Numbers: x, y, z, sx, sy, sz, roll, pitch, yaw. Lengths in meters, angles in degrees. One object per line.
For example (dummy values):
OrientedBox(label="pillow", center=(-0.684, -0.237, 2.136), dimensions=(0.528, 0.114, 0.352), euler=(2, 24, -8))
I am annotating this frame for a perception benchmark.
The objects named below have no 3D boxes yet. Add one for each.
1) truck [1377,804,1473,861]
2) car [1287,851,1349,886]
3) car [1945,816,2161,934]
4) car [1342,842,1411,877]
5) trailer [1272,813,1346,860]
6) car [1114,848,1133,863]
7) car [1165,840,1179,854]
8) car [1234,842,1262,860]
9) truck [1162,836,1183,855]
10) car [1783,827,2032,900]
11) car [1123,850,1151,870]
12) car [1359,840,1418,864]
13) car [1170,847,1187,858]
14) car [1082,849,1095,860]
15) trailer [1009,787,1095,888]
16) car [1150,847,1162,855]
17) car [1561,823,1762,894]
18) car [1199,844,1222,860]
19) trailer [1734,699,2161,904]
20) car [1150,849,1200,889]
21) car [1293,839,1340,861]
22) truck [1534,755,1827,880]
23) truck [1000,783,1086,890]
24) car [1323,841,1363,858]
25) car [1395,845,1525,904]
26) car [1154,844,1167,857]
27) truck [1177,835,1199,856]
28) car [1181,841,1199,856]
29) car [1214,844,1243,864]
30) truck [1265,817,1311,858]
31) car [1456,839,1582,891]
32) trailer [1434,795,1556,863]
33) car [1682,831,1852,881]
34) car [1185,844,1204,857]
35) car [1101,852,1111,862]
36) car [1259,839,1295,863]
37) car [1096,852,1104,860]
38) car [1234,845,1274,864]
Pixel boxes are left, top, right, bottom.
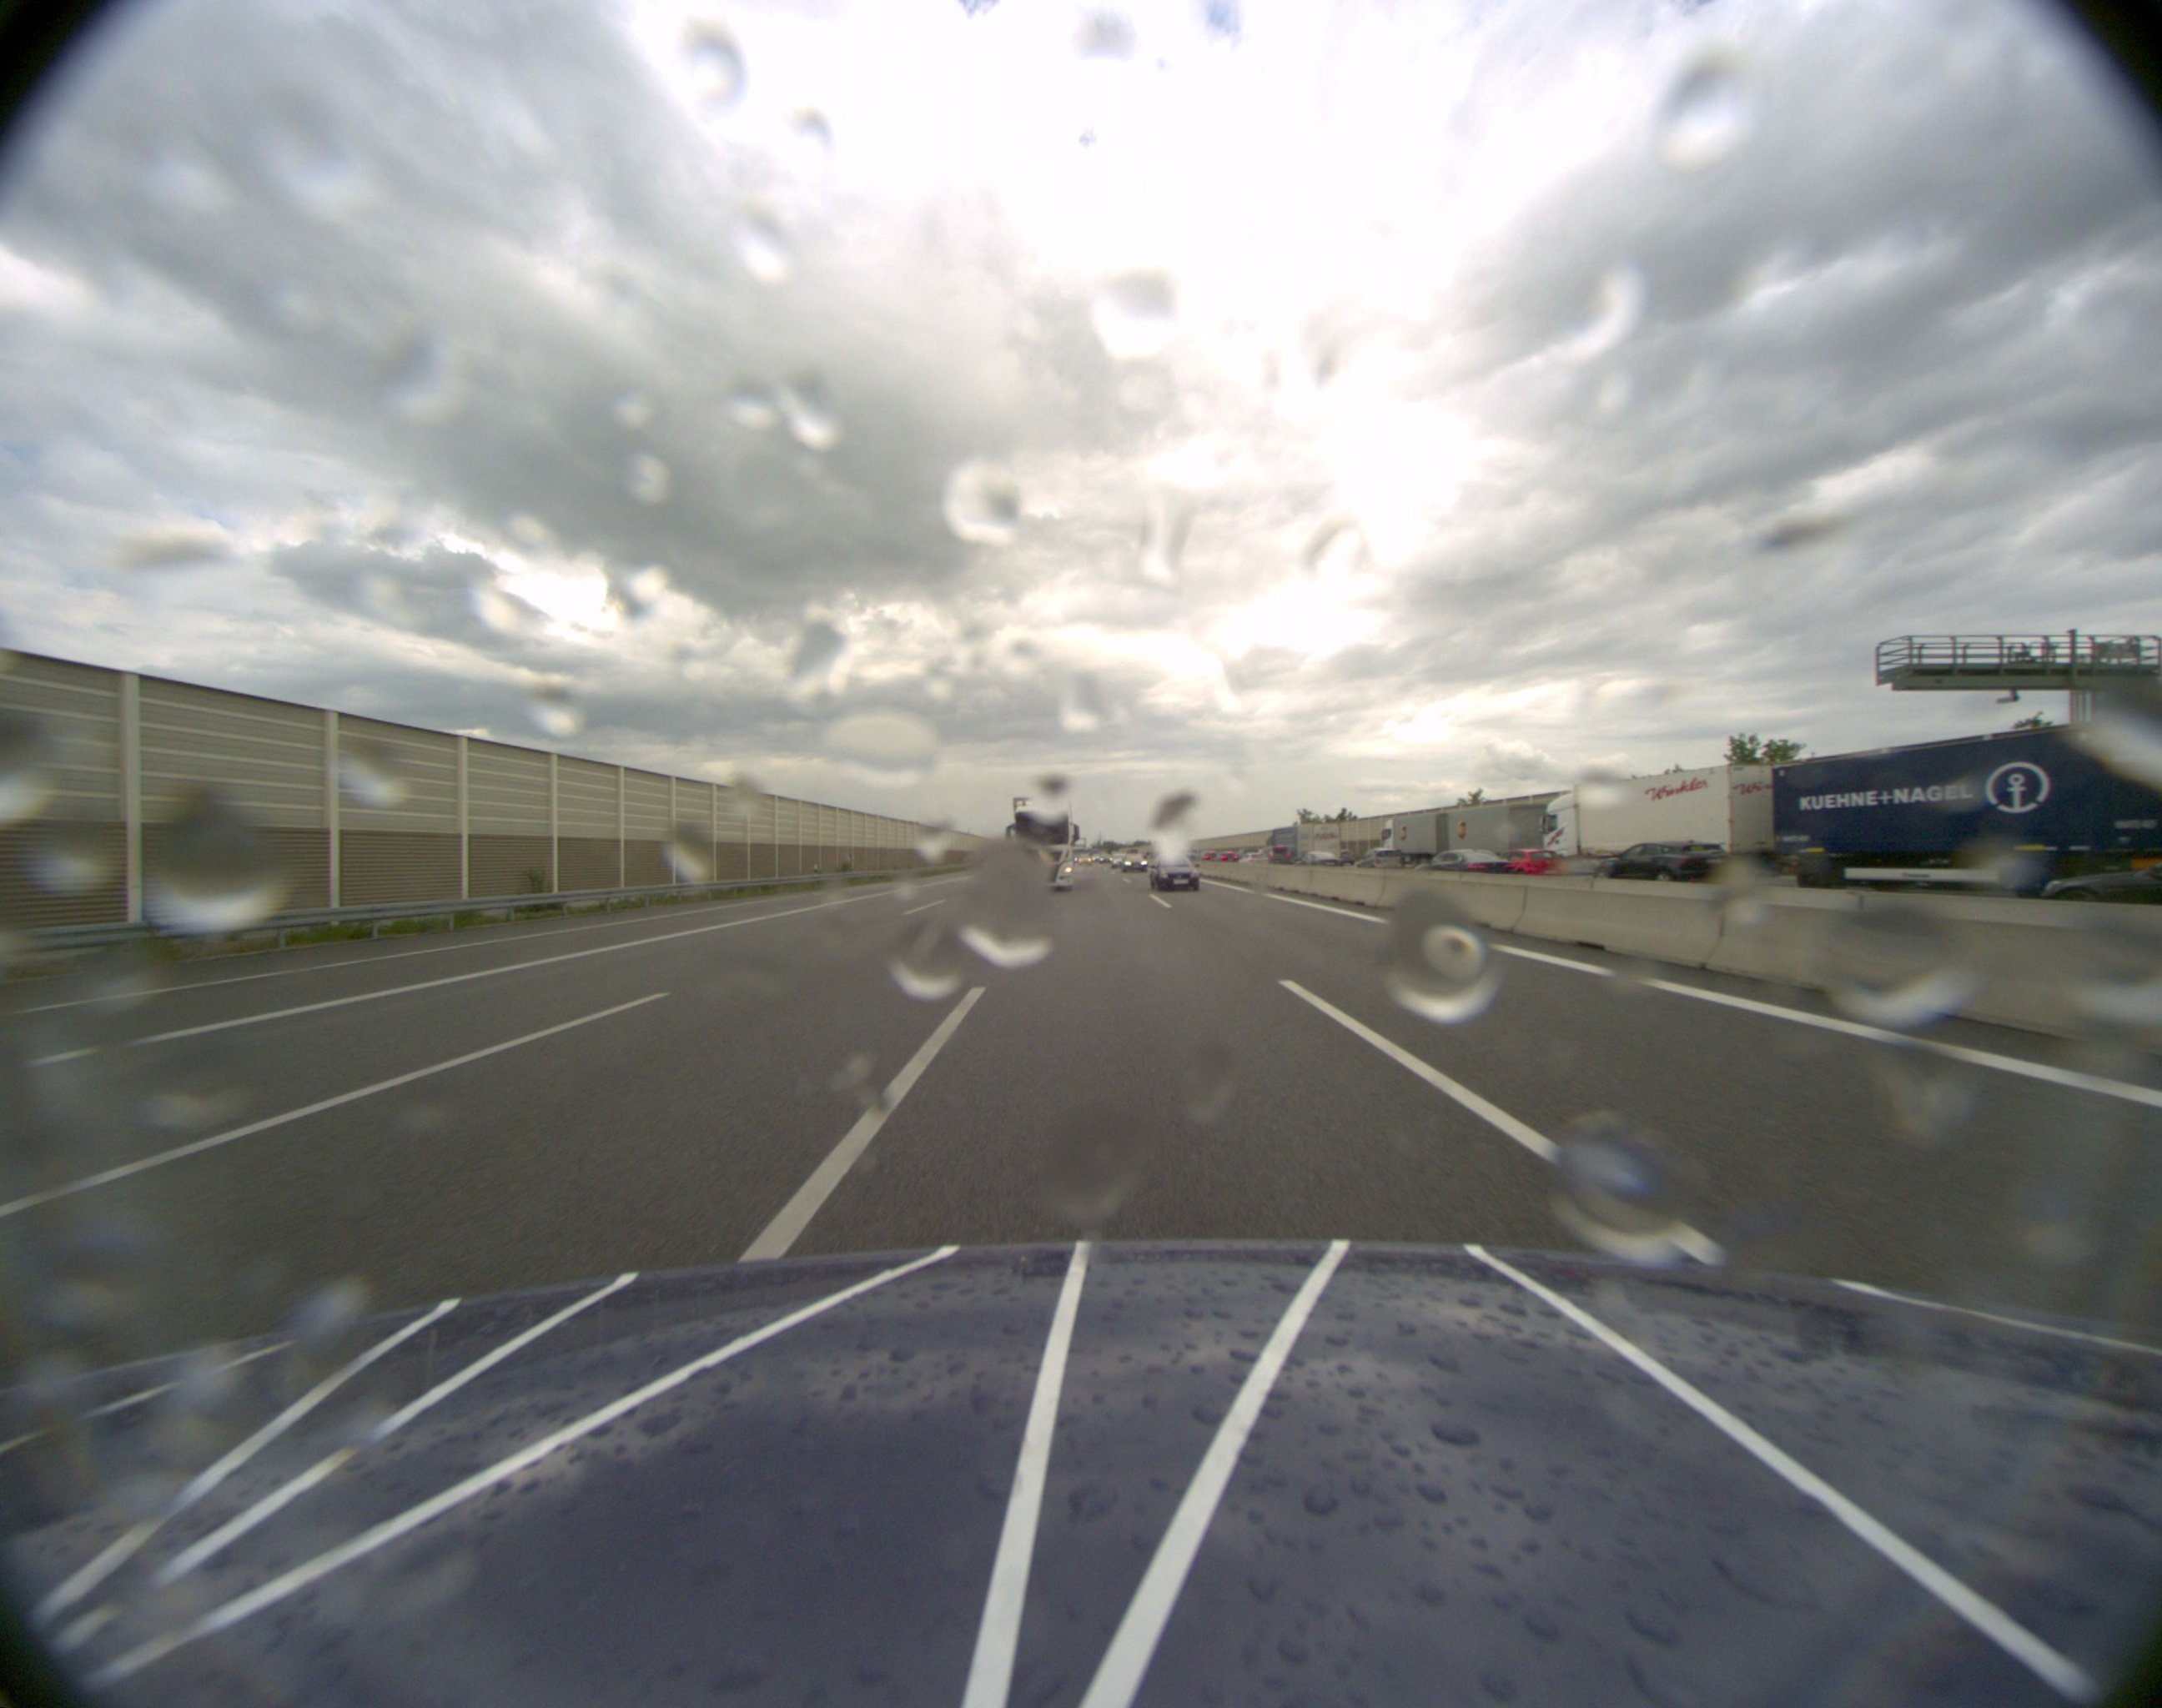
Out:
OrientedBox(label="truck", center=(26.163, -1.557, 58.527), dimensions=(2.693, 3.876, 10.499), euler=(-2, 1, 0))
OrientedBox(label="car", center=(14.824, 0.827, 47.930), dimensions=(2.066, 1.991, 5.807), euler=(-2, 1, 1))
OrientedBox(label="car", center=(18.135, 0.303, 12.125), dimensions=(2.066, 1.881, 5.807), euler=(-2, 1, 0))
OrientedBox(label="car", center=(18.425, 0.307, 47.700), dimensions=(2.066, 1.991, 5.807), euler=(-2, 1, 1))
OrientedBox(label="trailer", center=(22.300, -1.650, 75.460), dimensions=(3.066, 4.136, 14.314), euler=(-2, 0, 0))
OrientedBox(label="car", center=(4.244, 0.111, 76.659), dimensions=(1.732, 1.395, 4.000), euler=(-2, 1, 1))
OrientedBox(label="car", center=(18.478, -1.499, 154.249), dimensions=(2.133, 2.733, 4.931), euler=(-2, 1, -2))
OrientedBox(label="car", center=(18.607, -0.382, 85.000), dimensions=(1.938, 1.886, 5.432), euler=(-2, 1, 1))
OrientedBox(label="truck", center=(25.260, -2.336, 210.849), dimensions=(3.448, 4.829, 17.225), euler=(-2, 0, -1))
OrientedBox(label="car", center=(25.563, 0.248, 23.891), dimensions=(2.066, 1.991, 5.296), euler=(-2, 1, 0))
OrientedBox(label="car", center=(4.361, 0.434, 59.848), dimensions=(1.776, 1.451, 4.479), euler=(-2, 1, -1))
OrientedBox(label="car", center=(22.575, -0.180, 56.062), dimensions=(2.066, 1.591, 5.807), euler=(-2, 0, 1))
OrientedBox(label="car", center=(14.981, -0.261, 117.028), dimensions=(1.925, 1.622, 4.694), euler=(-2, 1, -2))
OrientedBox(label="car", center=(1.022, 0.097, 103.009), dimensions=(1.732, 1.395, 4.000), euler=(-2, 1, 1))
OrientedBox(label="trailer", center=(-1.125, -0.792, 39.113), dimensions=(2.925, 4.188, 13.198), euler=(-3, 1, 3))
OrientedBox(label="car", center=(14.797, -0.634, 150.090), dimensions=(1.641, 1.496, 4.362), euler=(-2, 1, -2))
OrientedBox(label="car", center=(18.547, 0.101, 24.781), dimensions=(2.066, 1.991, 5.807), euler=(-2, 1, 0))
OrientedBox(label="car", center=(15.418, -0.246, 90.800), dimensions=(1.924, 1.880, 5.425), euler=(-2, 1, 1))
OrientedBox(label="trailer", center=(22.247, -1.076, 19.199), dimensions=(2.938, 3.917, 10.119), euler=(-2, 1, 1))
OrientedBox(label="car", center=(3.718, 0.558, 30.486), dimensions=(1.578, 1.395, 4.000), euler=(-2, 1, 2))
OrientedBox(label="car", center=(18.938, -0.316, 61.430), dimensions=(2.066, 1.591, 5.807), euler=(-2, 0, 1))
OrientedBox(label="truck", center=(22.457, -1.212, 29.826), dimensions=(2.945, 3.923, 11.066), euler=(-2, 1, 1))
OrientedBox(label="truck", center=(-1.517, -0.734, 33.076), dimensions=(2.912, 4.146, 5.193), euler=(-3, 1, 4))
OrientedBox(label="car", center=(26.153, -0.494, 76.051), dimensions=(2.066, 1.591, 5.807), euler=(-2, 0, 1))
OrientedBox(label="car", center=(14.321, 0.679, 29.216), dimensions=(2.066, 1.991, 5.807), euler=(-2, 1, 0))
OrientedBox(label="car", center=(17.415, -0.707, 167.303), dimensions=(2.133, 2.733, 4.931), euler=(-2, 1, -2))
OrientedBox(label="truck", center=(25.536, -2.008, 181.911), dimensions=(3.225, 4.829, 11.695), euler=(-2, 1, -1))
OrientedBox(label="car", center=(18.290, -0.864, 128.074), dimensions=(2.031, 2.459, 5.147), euler=(-2, 1, -2))
OrientedBox(label="car", center=(15.151, -0.044, 78.090), dimensions=(1.938, 1.886, 5.432), euler=(-2, 1, 1))
OrientedBox(label="truck", center=(22.347, -1.721, 82.419), dimensions=(3.079, 4.220, 6.692), euler=(-2, 1, 0))
OrientedBox(label="car", center=(18.856, 0.415, 33.126), dimensions=(2.066, 1.991, 5.807), euler=(-2, 1, 0))
OrientedBox(label="trailer", center=(26.151, -1.489, 48.671), dimensions=(2.728, 3.849, 9.283), euler=(-2, 1, 0))
OrientedBox(label="car", center=(29.130, 0.061, 32.621), dimensions=(2.066, 1.881, 5.807), euler=(-2, 1, 0))
OrientedBox(label="car", center=(15.382, -0.498, 102.742), dimensions=(1.817, 1.622, 4.208), euler=(-2, 1, -1))
OrientedBox(label="car", center=(3.929, 0.462, 118.217), dimensions=(1.498, 1.395, 4.000), euler=(-2, 1, 1))
OrientedBox(label="car", center=(18.498, -0.271, 72.038), dimensions=(2.066, 2.146, 5.432), euler=(-2, 1, 1))
OrientedBox(label="car", center=(3.554, 0.386, 144.585), dimensions=(1.498, 1.395, 4.000), euler=(-2, 1, 1))
OrientedBox(label="car", center=(14.729, 0.019, 65.029), dimensions=(2.066, 1.555, 5.807), euler=(-2, 0, 1))
